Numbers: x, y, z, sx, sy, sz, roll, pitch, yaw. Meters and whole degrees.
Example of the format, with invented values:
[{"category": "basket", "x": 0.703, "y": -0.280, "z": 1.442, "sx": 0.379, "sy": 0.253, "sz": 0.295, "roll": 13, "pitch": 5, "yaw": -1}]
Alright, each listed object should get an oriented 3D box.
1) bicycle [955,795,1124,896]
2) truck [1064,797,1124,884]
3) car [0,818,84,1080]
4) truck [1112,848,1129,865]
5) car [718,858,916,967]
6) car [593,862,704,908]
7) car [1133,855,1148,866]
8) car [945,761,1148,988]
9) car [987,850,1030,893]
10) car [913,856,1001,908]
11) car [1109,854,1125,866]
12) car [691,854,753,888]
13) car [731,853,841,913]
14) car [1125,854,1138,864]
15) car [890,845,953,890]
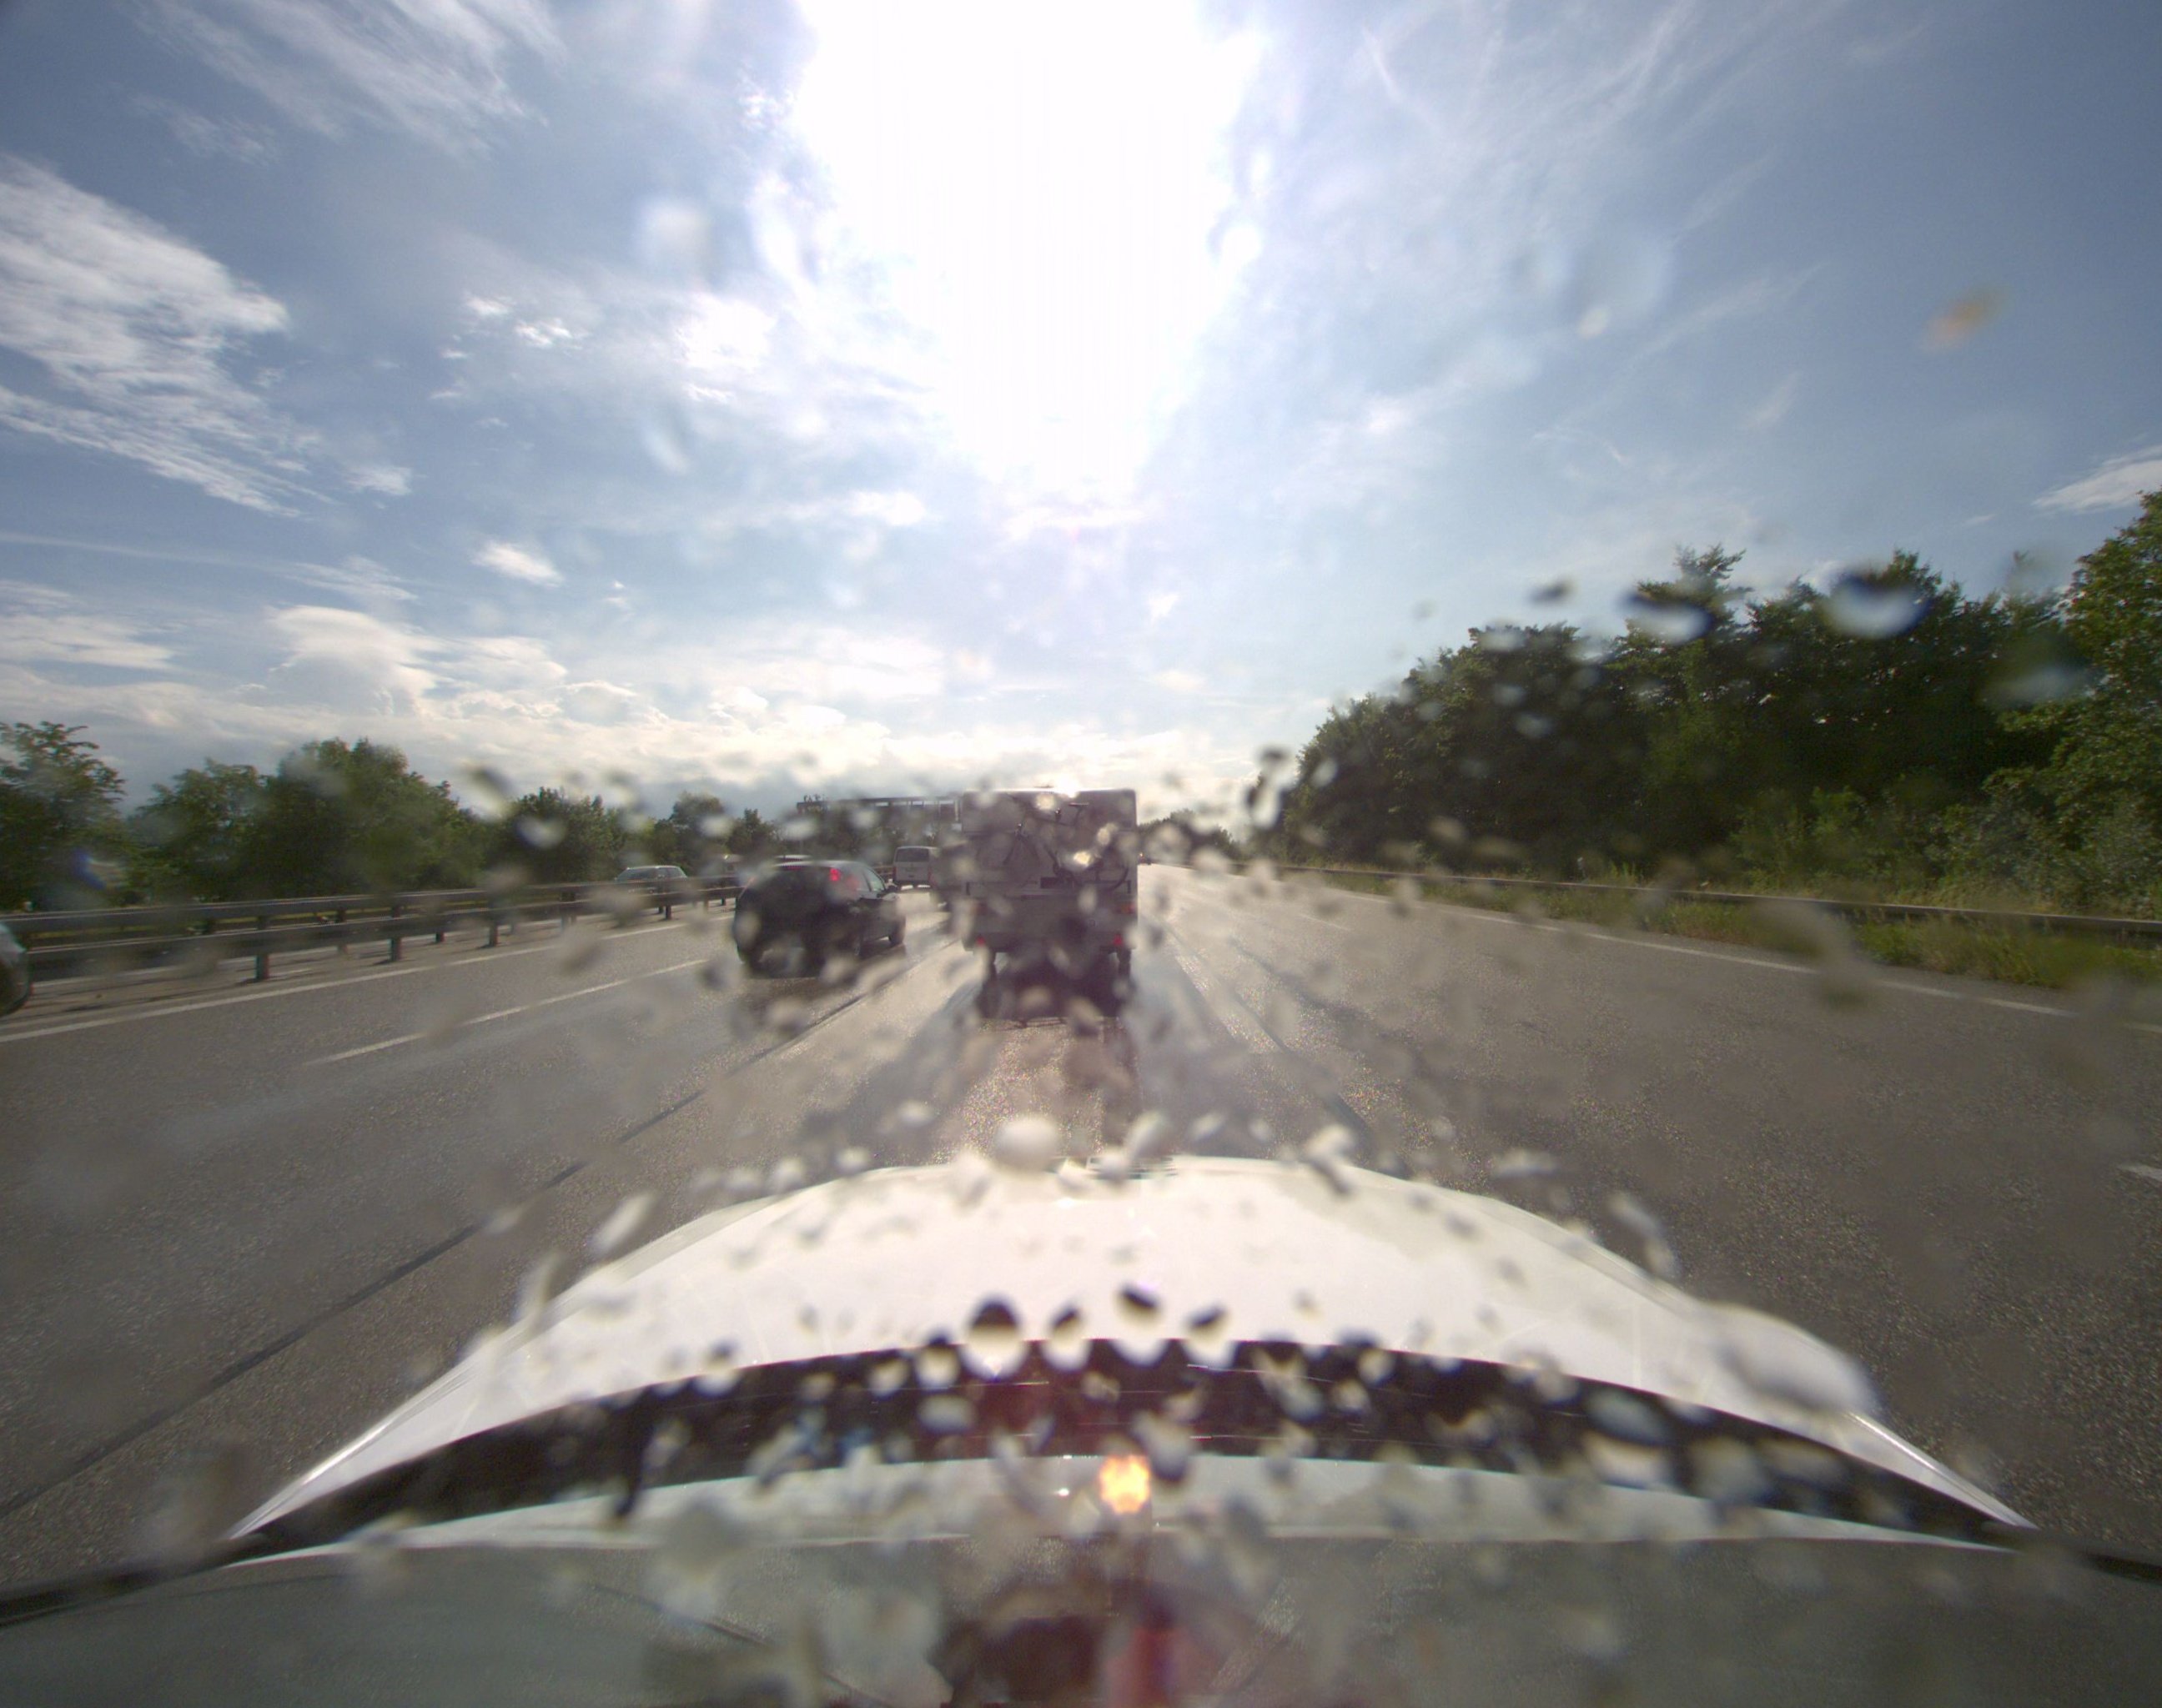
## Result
[{"category": "bicycle", "x": -0.464, "y": -0.095, "z": 9.481, "sx": 1.926, "sy": 1.141, "sz": 0.384, "roll": 0, "pitch": -1, "yaw": 2}, {"category": "truck", "x": 0.719, "y": -0.715, "z": 48.753, "sx": 3.135, "sy": 4.626, "sz": 10.735, "roll": -1, "pitch": 0, "yaw": 0}, {"category": "car", "x": -8.597, "y": 0.681, "z": 3.510, "sx": 1.799, "sy": 1.844, "sz": 5.421, "roll": -1, "pitch": 0, "yaw": 2}, {"category": "truck", "x": 5.768, "y": 0.304, "z": 120.328, "sx": 2.406, "sy": 2.443, "sz": 6.056, "roll": -1, "pitch": 0, "yaw": 2}, {"category": "car", "x": -4.023, "y": 0.817, "z": 13.145, "sx": 1.752, "sy": 1.443, "sz": 4.002, "roll": -1, "pitch": 0, "yaw": 2}, {"category": "car", "x": -15.208, "y": 1.031, "z": 28.891, "sx": 1.661, "sy": 1.442, "sz": 4.002, "roll": -1, "pitch": 0, "yaw": 2}, {"category": "car", "x": 8.545, "y": 0.965, "z": 117.369, "sx": 1.870, "sy": 1.494, "sz": 3.999, "roll": 0, "pitch": 0, "yaw": 0}, {"category": "car", "x": -0.343, "y": 0.255, "z": 11.690, "sx": 2.401, "sy": 2.674, "sz": 4.002, "roll": 0, "pitch": 0, "yaw": 2}, {"category": "car", "x": -3.588, "y": 0.840, "z": 40.989, "sx": 1.871, "sy": 2.014, "sz": 3.998, "roll": 0, "pitch": 0, "yaw": -1}, {"category": "car", "x": -3.712, "y": 0.795, "z": 25.062, "sx": 1.980, "sy": 1.458, "sz": 3.828, "roll": -1, "pitch": 0, "yaw": 2}, {"category": "car", "x": 4.514, "y": 0.749, "z": 102.668, "sx": 1.830, "sy": 1.558, "sz": 3.998, "roll": 0, "pitch": 0, "yaw": -1}, {"category": "car", "x": -22.354, "y": 1.030, "z": 50.907, "sx": 1.987, "sy": 2.013, "sz": 4.361, "roll": -1, "pitch": 0, "yaw": -1}, {"category": "car", "x": -8.530, "y": 0.776, "z": 23.893, "sx": 1.777, "sy": 1.578, "sz": 3.915, "roll": -1, "pitch": 0, "yaw": 0}, {"category": "car", "x": 8.438, "y": 0.896, "z": 135.770, "sx": 1.871, "sy": 1.629, "sz": 3.998, "roll": 0, "pitch": 0, "yaw": -1}, {"category": "car", "x": -7.349, "y": 0.575, "z": 37.924, "sx": 1.841, "sy": 1.934, "sz": 5.016, "roll": -1, "pitch": 0, "yaw": 1}]
